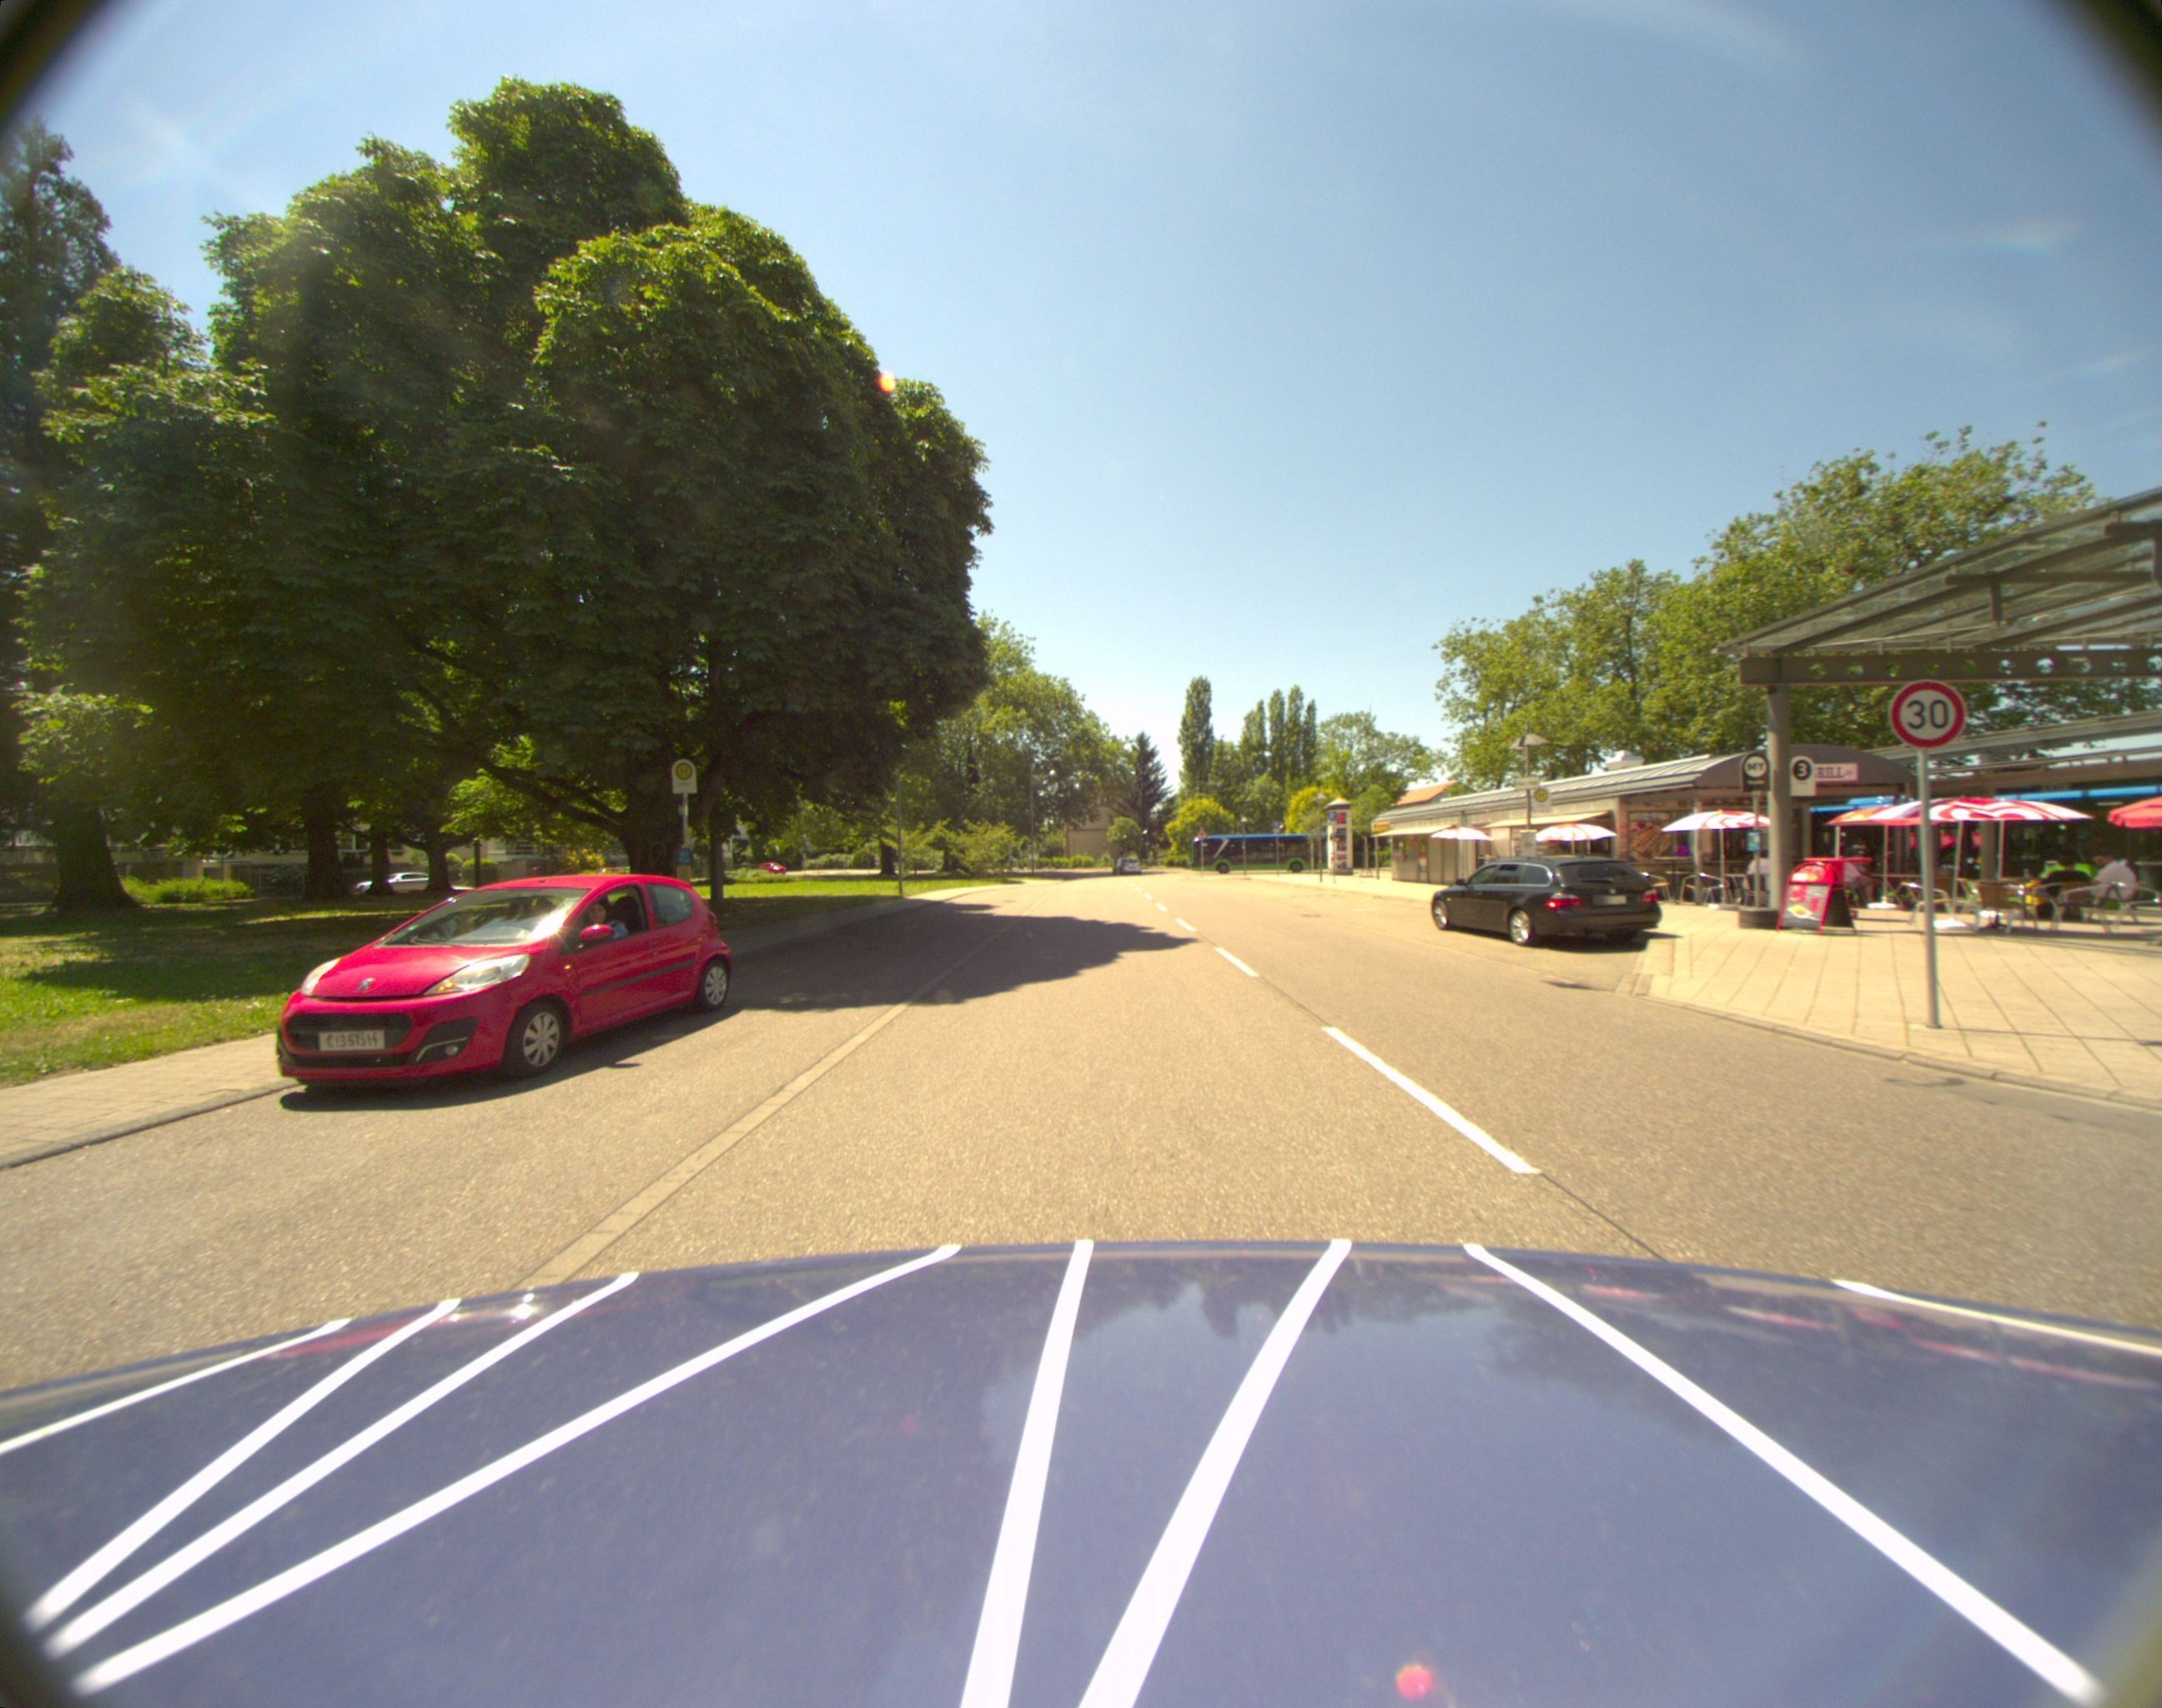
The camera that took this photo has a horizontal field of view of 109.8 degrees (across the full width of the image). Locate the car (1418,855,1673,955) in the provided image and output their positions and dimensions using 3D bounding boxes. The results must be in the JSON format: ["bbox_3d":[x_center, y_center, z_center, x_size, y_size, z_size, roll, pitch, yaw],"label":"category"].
[{"bbox_3d":[8.097,0.778,13.899,1.723,1.470,4.785,-1,0,0],"label":"car"}]

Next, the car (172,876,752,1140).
[{"bbox_3d":[-4.625,0.994,6.513,1.722,1.470,3.707,-1,0,5],"label":"car"}]

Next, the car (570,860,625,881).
[{"bbox_3d":[-42.243,1.431,66.538,1.700,1.591,4.002,0,2,11],"label":"car"}]

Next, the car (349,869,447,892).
[{"bbox_3d":[-45.912,1.753,51.221,1.667,1.280,4.720,0,1,16],"label":"car"}]

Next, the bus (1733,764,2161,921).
[{"bbox_3d":[23.712,-0.250,20.113,2.972,3.214,11.848,-1,0,2],"label":"bus"}]

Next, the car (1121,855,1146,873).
[{"bbox_3d":[4.275,0.813,62.213,1.819,1.435,4.159,0,0,1],"label":"car"}]

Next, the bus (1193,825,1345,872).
[{"bbox_3d":[15.690,-0.414,63.806,12.197,3.506,2.172,-1,1,18],"label":"bus"}]

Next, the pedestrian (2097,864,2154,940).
[{"bbox_3d":[16.129,0.728,11.741,0.371,1.116,0.427,1,2,35],"label":"pedestrian"}]

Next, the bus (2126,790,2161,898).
[{"bbox_3d":[31.154,-0.320,14.140,2.874,3.019,15.520,-1,0,4],"label":"bus"}]
